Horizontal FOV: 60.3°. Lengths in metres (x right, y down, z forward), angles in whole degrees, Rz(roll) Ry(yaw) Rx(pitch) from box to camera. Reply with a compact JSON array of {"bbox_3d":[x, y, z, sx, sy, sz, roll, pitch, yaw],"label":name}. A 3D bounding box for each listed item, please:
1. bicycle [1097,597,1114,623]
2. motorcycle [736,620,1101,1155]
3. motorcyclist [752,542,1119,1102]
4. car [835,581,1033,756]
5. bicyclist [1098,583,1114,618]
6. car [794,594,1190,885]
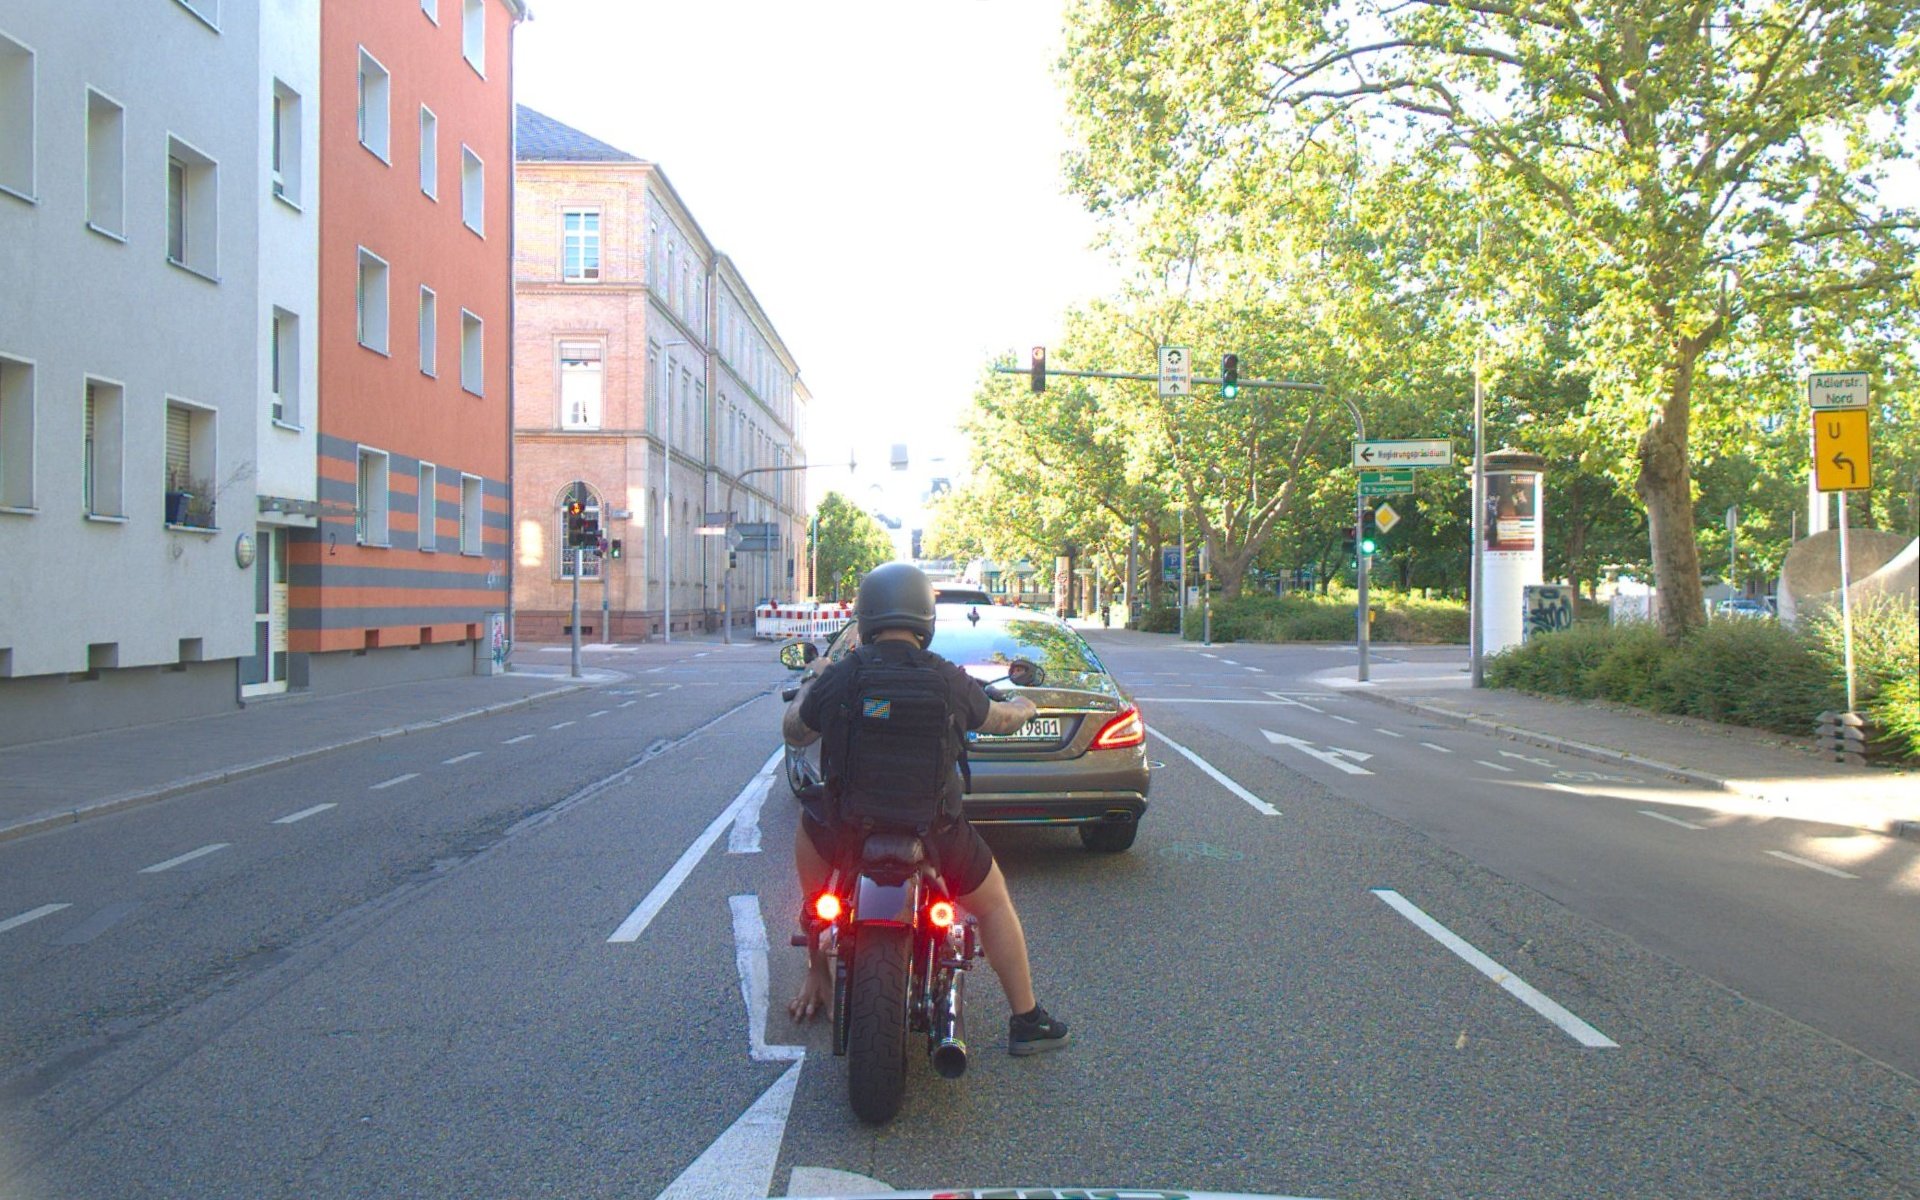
[{"bbox_3d":[6.842,0.471,77.606,0.701,1.193,2.177,1,0,3],"label":"bicycle"},{"bbox_3d":[-0.125,0.773,5.527,0.942,1.380,2.319,1,0,-1],"label":"motorcycle"},{"bbox_3d":[-0.075,0.648,5.258,1.039,1.610,0.908,1,0,-1],"label":"motorcyclist"},{"bbox_3d":[-0.339,0.607,16.757,1.777,1.563,3.846,0,0,-3],"label":"car"},{"bbox_3d":[6.858,0.019,77.655,0.701,1.610,0.936,1,0,3],"label":"bicyclist"},{"bbox_3d":[-0.029,0.701,10.648,1.867,1.466,4.280,0,0,-9],"label":"car"}]
